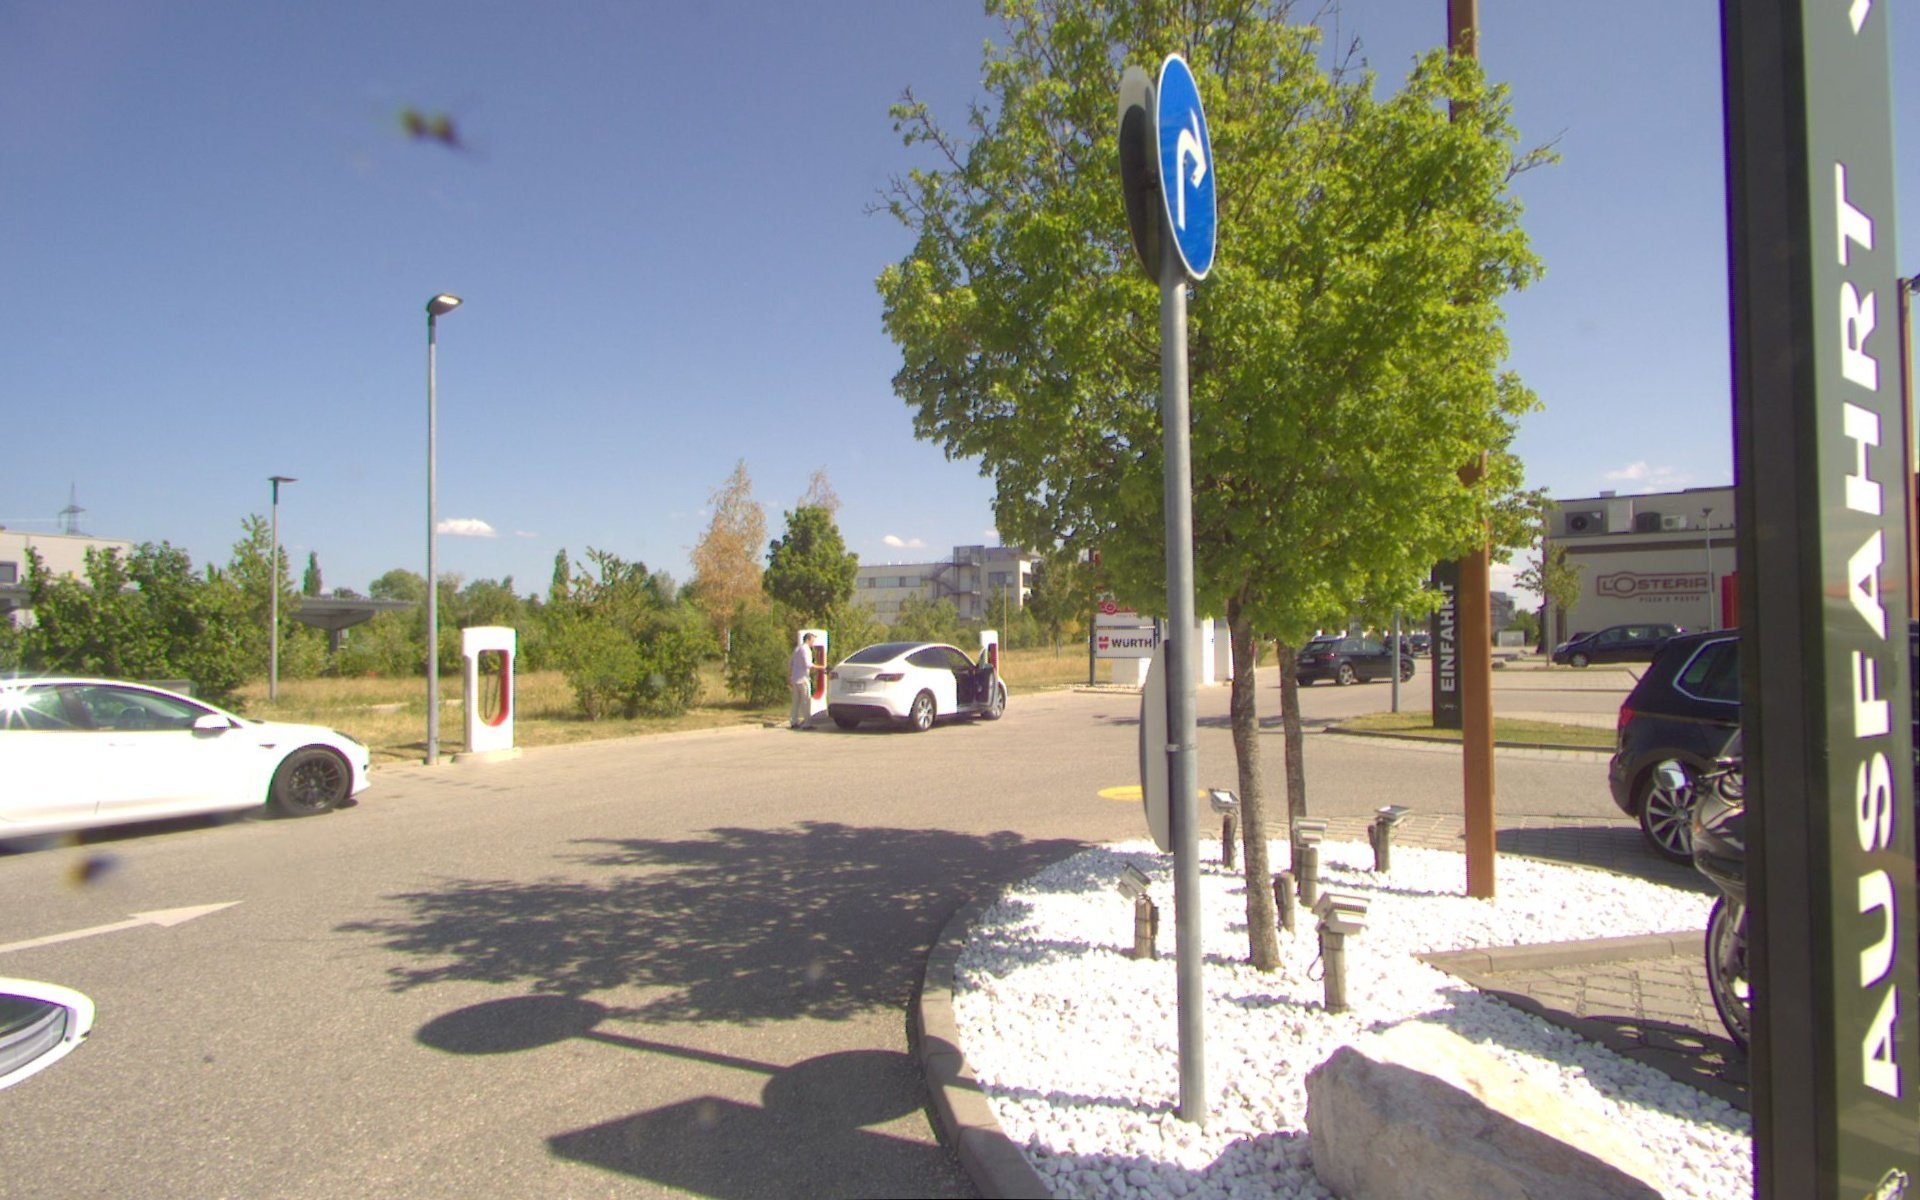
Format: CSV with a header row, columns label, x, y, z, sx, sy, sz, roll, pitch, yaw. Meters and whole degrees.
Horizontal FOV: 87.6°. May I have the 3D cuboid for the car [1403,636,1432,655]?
label,x,y,z,sx,sy,sz,roll,pitch,yaw
car,36.825,3.649,80.545,1.723,1.404,3.982,-1,-2,30

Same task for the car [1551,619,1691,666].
label,x,y,z,sx,sy,sz,roll,pitch,yaw
car,24.946,1.603,37.967,4.321,1.707,1.634,-2,-2,31

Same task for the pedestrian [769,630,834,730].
label,x,y,z,sx,sy,sz,roll,pitch,yaw
pedestrian,-2.975,1.474,18.873,0.726,1.823,1.031,0,-1,29

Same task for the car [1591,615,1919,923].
label,x,y,z,sx,sy,sz,roll,pitch,yaw
car,5.772,0.854,5.198,1.860,1.556,4.188,0,-1,-11

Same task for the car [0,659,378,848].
label,x,y,z,sx,sy,sz,roll,pitch,yaw
car,-7.865,1.271,8.834,1.796,1.395,4.428,-2,-2,31

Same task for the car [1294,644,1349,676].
label,x,y,z,sx,sy,sz,roll,pitch,yaw
car,19.047,3.129,52.686,1.924,1.588,3.980,-2,-2,32

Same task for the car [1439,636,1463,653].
label,x,y,z,sx,sy,sz,roll,pitch,yaw
car,46.354,4.199,94.561,1.723,1.588,3.982,-1,-2,30

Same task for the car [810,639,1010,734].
label,x,y,z,sx,sy,sz,roll,pitch,yaw
car,-0.844,1.607,19.823,1.842,1.620,4.469,-1,-2,30

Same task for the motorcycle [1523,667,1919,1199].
label,x,y,z,sx,sy,sz,roll,pitch,yaw
motorcycle,2.772,0.867,2.539,1.052,1.267,2.248,1,-1,-16

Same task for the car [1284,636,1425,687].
label,x,y,z,sx,sy,sz,roll,pitch,yaw
car,12.125,1.844,30.736,4.149,1.459,1.692,1,-2,-26
